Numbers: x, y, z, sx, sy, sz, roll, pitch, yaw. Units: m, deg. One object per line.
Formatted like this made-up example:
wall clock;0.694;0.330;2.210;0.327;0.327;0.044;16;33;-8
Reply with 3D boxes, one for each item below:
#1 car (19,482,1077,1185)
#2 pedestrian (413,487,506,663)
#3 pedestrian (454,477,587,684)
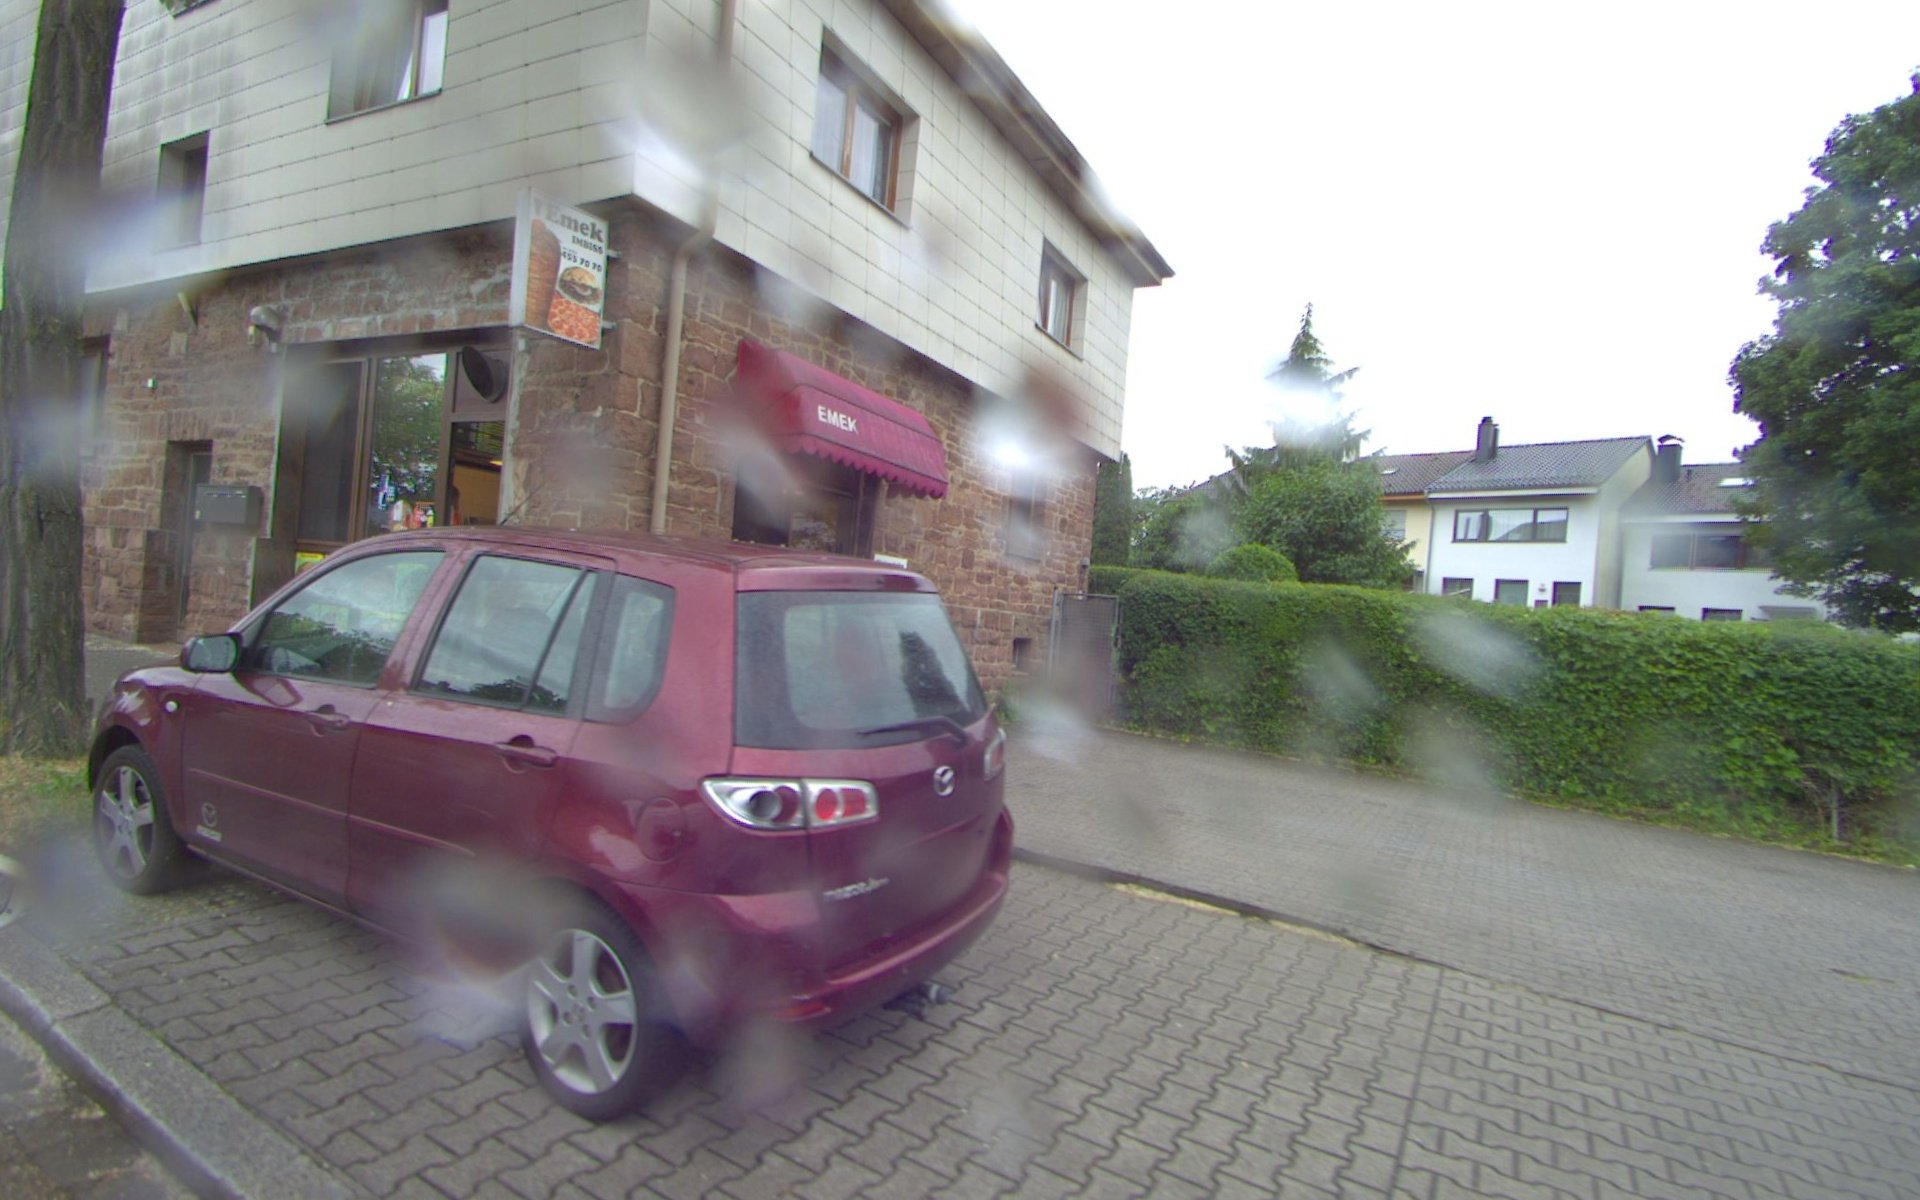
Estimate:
car;-1.636;0.475;3.794;3.693;1.521;1.614;4;-3;29
pedestrian;-4.997;-0.242;10.056;0.447;1.679;0.493;6;-1;31
pedestrian;-3.973;-0.157;9.114;0.478;1.750;0.799;6;-2;41
